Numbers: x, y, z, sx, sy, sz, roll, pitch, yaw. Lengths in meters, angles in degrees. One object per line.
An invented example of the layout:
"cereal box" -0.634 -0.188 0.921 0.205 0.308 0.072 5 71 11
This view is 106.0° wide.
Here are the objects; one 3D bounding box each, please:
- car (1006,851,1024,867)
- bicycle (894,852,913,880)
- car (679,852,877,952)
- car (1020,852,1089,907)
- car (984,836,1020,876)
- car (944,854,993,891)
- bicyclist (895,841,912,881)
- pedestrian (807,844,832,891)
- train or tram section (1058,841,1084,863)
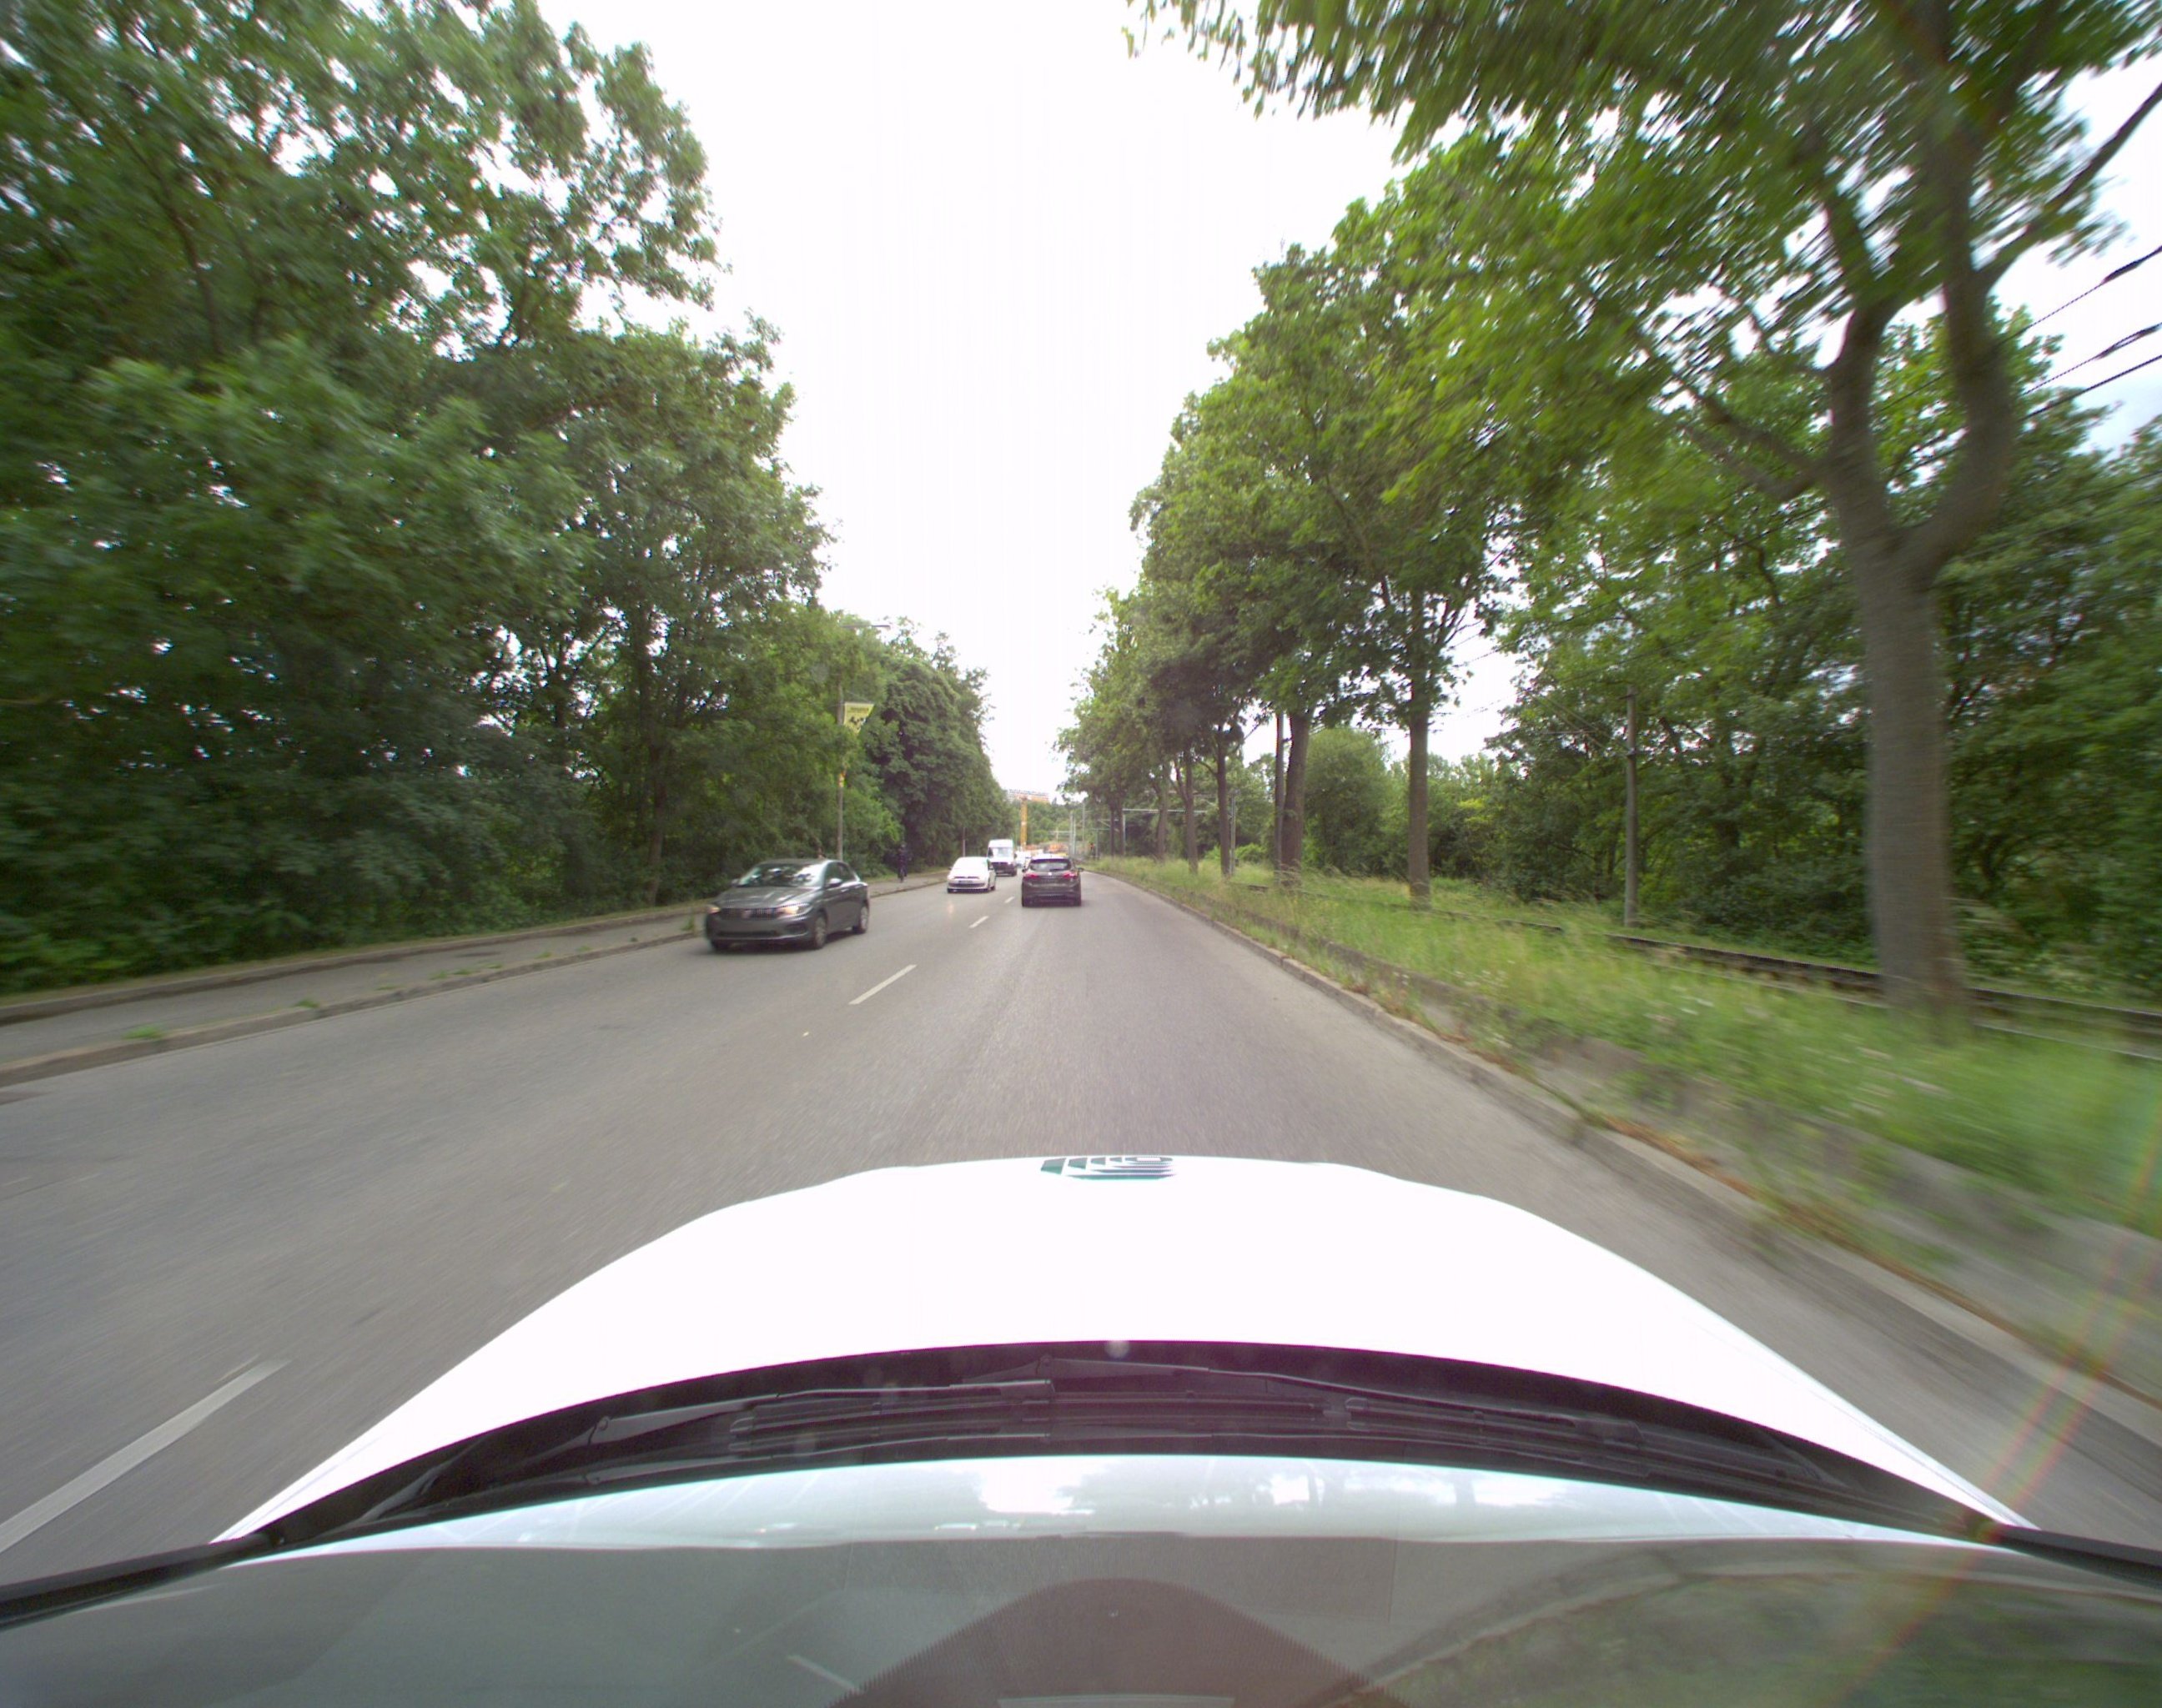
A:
"car" -7.371 0.526 91.839 1.852 1.799 4.551 -1 0 -3
"bicycle" -8.818 0.587 40.502 0.698 1.331 2.275 2 0 -7
"car" -5.160 0.745 14.569 1.988 1.505 4.277 0 -1 -1
"car" -0.913 0.728 25.287 1.828 1.510 3.991 -2 0 -6
"car" -5.586 0.130 58.161 1.988 2.626 5.892 -1 0 -1
"car" -4.623 0.732 33.855 1.721 1.428 3.994 0 -1 -4
"bicyclist" -8.777 0.338 40.245 0.686 1.948 0.834 1 -1 -7
"pedestrian" -9.628 0.489 29.994 0.597 1.714 0.814 2 0 -1
"train or tram section" -3.040 -0.489 232.373 3.030 5.183 22.953 2 -3 -12
